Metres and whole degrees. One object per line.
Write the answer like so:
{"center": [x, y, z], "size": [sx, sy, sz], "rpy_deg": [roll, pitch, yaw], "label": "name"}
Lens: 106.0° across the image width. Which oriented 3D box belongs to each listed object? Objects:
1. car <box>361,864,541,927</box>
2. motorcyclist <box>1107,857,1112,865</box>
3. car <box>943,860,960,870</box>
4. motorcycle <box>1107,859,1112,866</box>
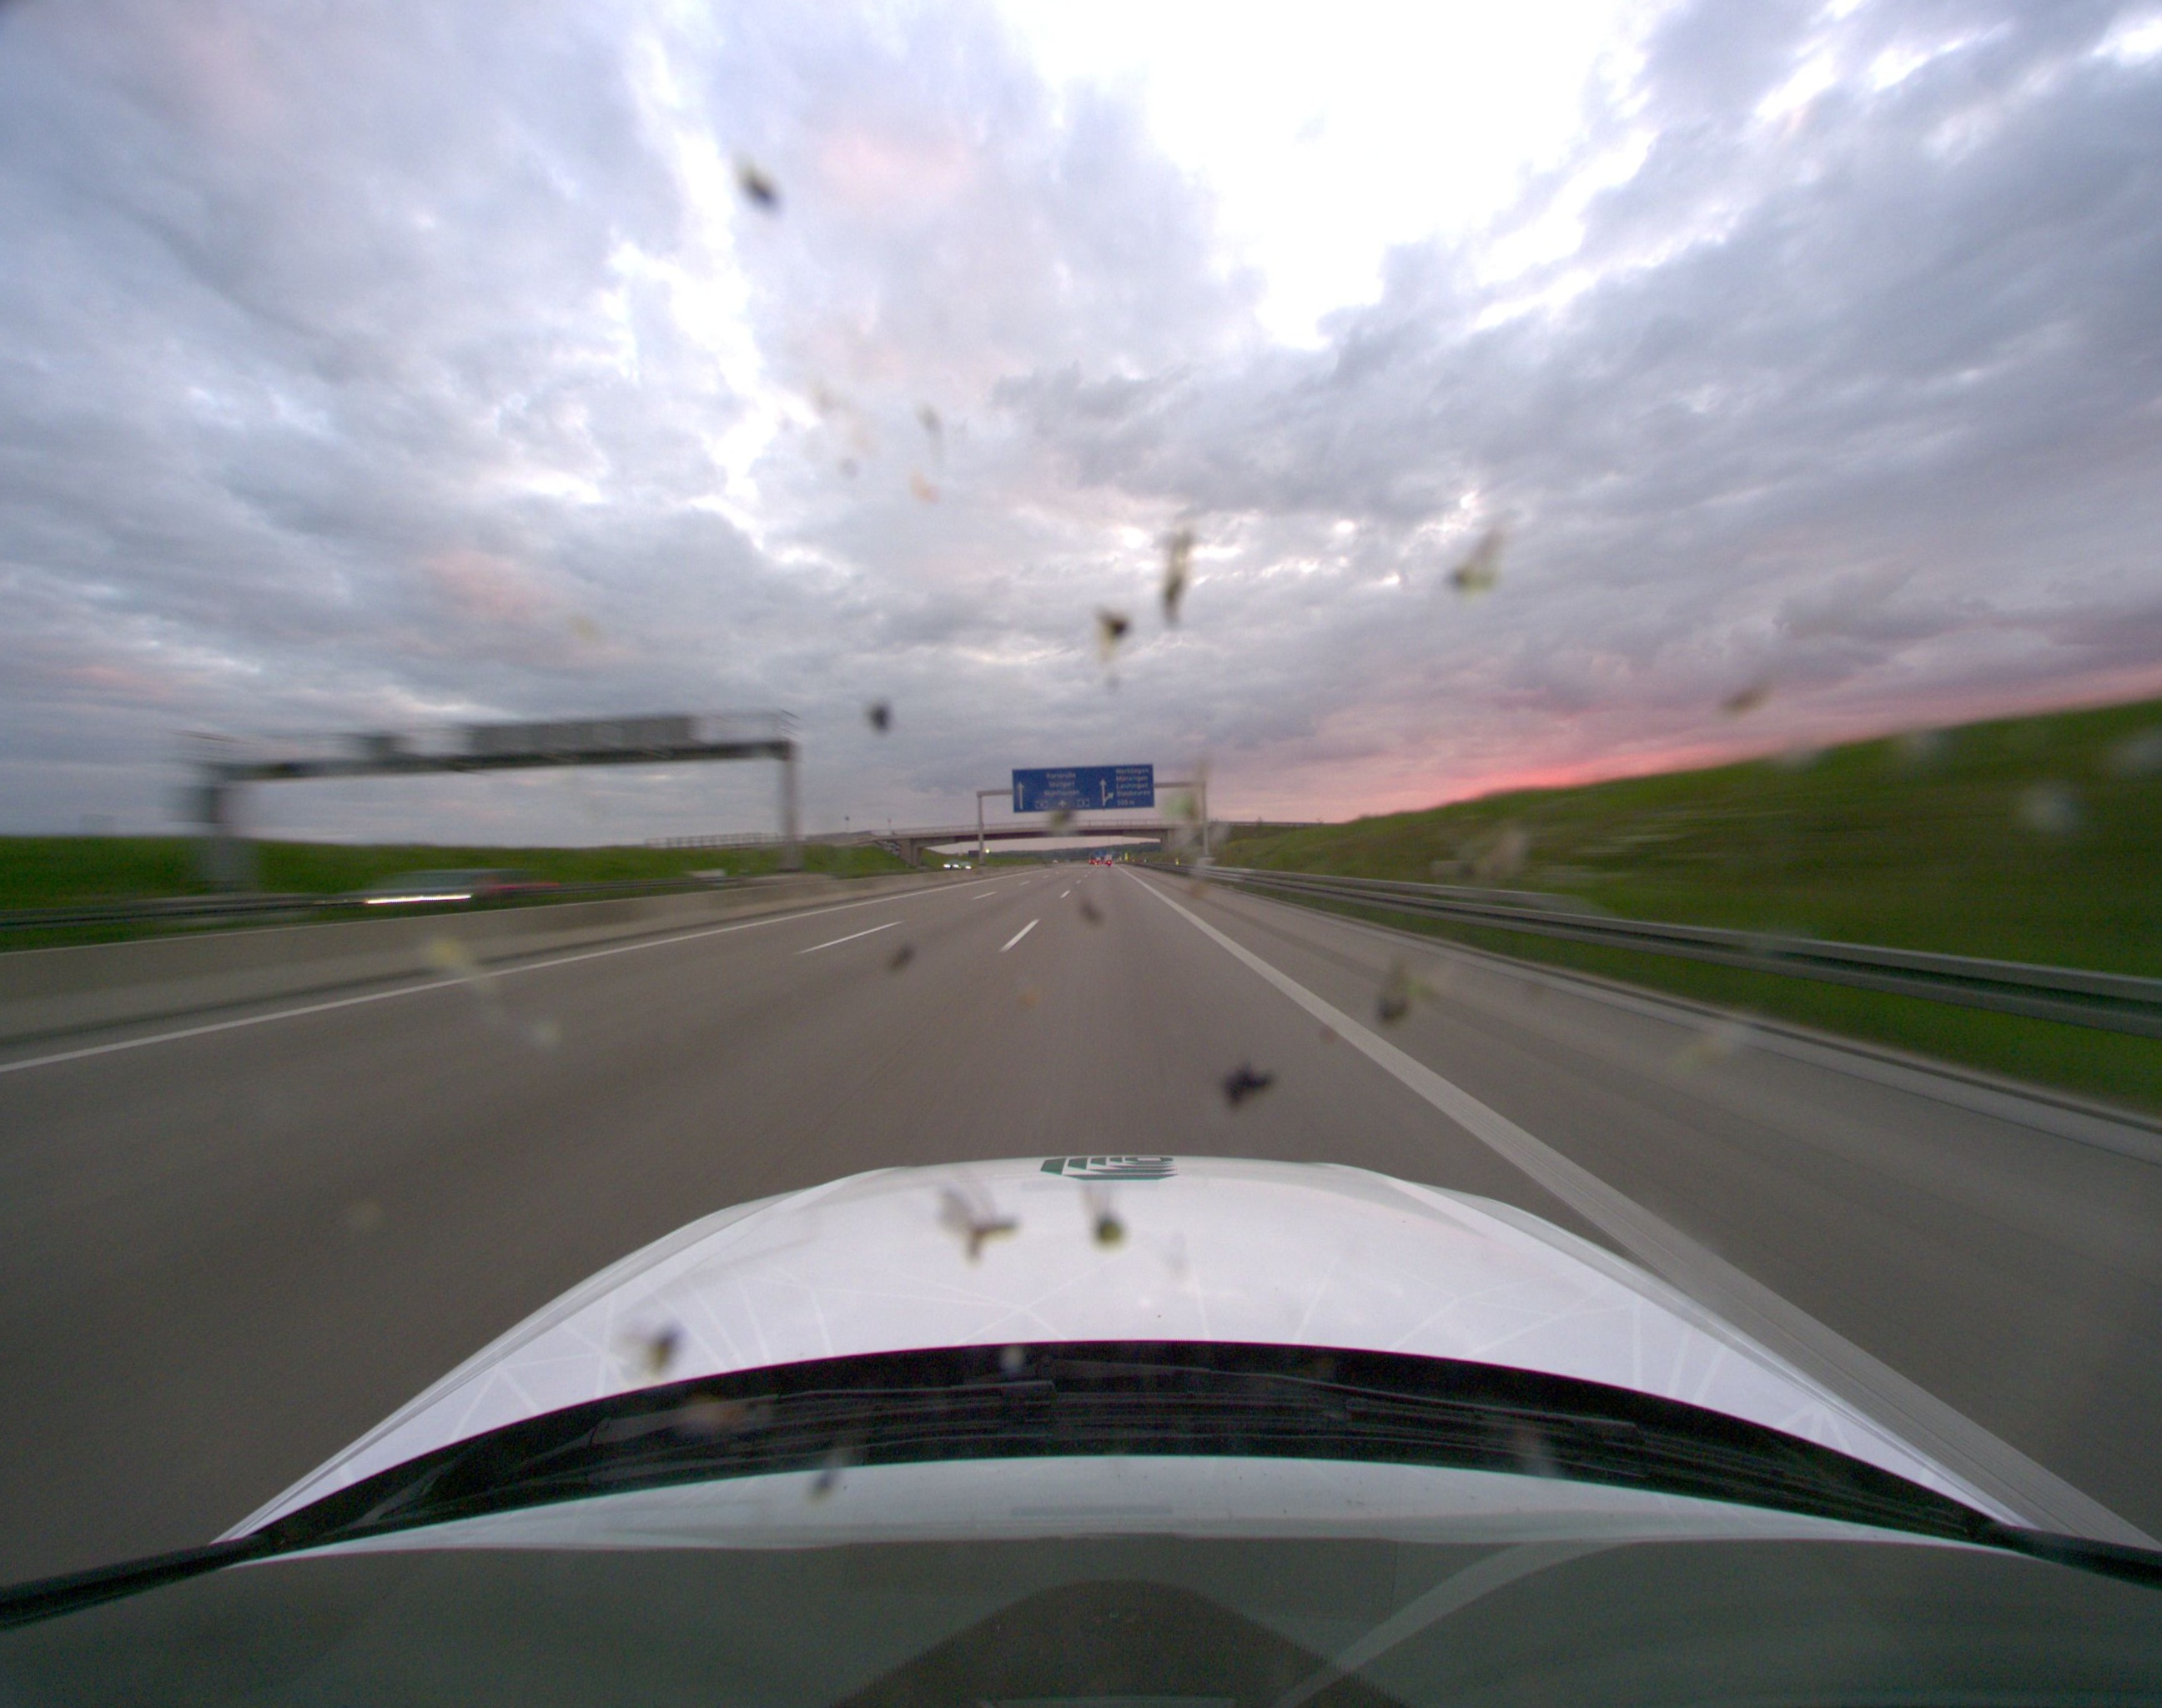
{"center": [-20.894, 1.306, 27.365], "size": [1.986, 1.827, 5.089], "rpy_deg": [-1, 0, 1], "label": "car"}
{"center": [5.328, 1.354, 153.236], "size": [0.862, 1.488, 1.169], "rpy_deg": [0, -1, 1], "label": "motorcyclist"}
{"center": [-19.238, 1.667, 121.270], "size": [1.807, 1.458, 4.001], "rpy_deg": [-2, 0, 1], "label": "car"}
{"center": [5.313, 1.589, 153.121], "size": [0.898, 1.346, 2.349], "rpy_deg": [-2, 0, 2], "label": "motorcycle"}
